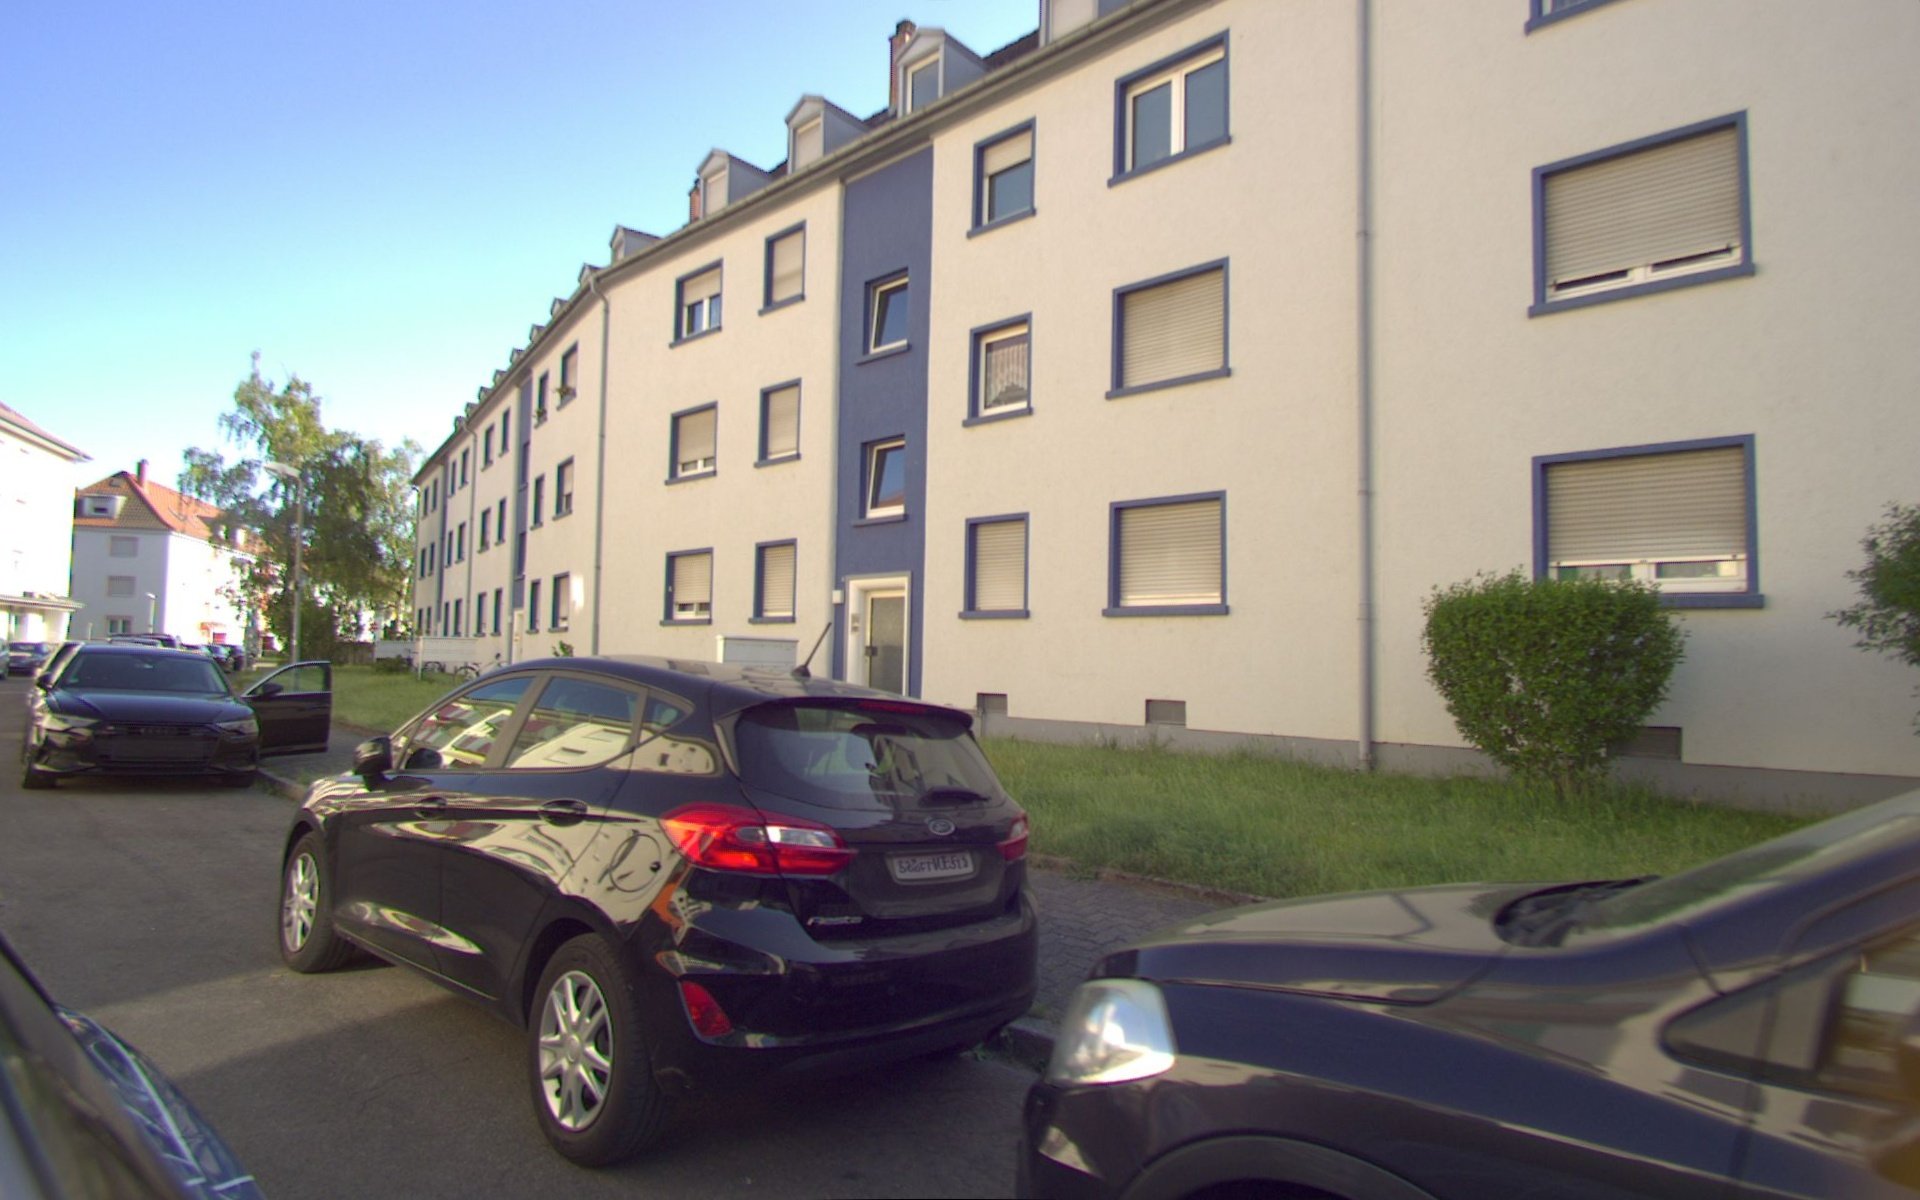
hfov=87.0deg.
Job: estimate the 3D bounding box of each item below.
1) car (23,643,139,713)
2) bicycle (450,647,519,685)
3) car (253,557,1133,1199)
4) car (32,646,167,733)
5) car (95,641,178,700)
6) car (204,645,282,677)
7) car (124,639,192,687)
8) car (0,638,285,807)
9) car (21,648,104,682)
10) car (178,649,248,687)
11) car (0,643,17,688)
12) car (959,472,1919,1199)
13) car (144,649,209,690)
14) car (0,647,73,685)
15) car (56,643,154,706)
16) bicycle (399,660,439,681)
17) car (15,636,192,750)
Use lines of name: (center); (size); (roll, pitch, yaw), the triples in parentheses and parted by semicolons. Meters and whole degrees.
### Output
car: (-20.262, 1.775, 23.470); (1.693, 1.422, 3.990); (8, -7, -38)
bicycle: (-13.444, 1.860, 28.638); (1.707, 0.997, 0.463); (0, -1, -35)
car: (-1.337, 0.795, 4.163); (3.701, 1.530, 1.626); (-2, -8, 42)
car: (-16.592, 1.683, 19.451); (1.694, 1.422, 3.987); (9, -7, -42)
car: (-26.907, 2.292, 33.162); (1.615, 1.715, 3.657); (7, -7, -34)
car: (-36.922, 3.182, 52.226); (1.551, 1.436, 3.985); (4, -6, -8)
car: (-30.384, 2.390, 38.428); (1.616, 1.653, 3.657); (7, -7, -34)
car: (-9.247, 1.254, 11.207); (4.396, 1.470, 1.879); (-2, -8, 43)
car: (-41.515, 3.017, 46.922); (1.728, 1.440, 4.104); (5, -5, -26)
car: (-35.113, 3.214, 47.666); (1.614, 1.587, 3.659); (6, -6, -21)
car: (-35.577, 2.315, 36.026); (1.728, 1.647, 4.419); (5, -5, -28)
car: (2.121, 0.758, 1.025); (4.162, 1.603, 1.656); (-1, -8, 41)
car: (-33.040, 2.929, 42.737); (1.615, 1.587, 3.658); (7, -6, -31)
car: (-38.600, 2.714, 41.928); (1.728, 1.440, 4.480); (5, -5, -28)
car: (-23.855, 2.066, 28.345); (1.616, 1.559, 3.657); (7, -7, -34)
bicycle: (-21.907, 2.841, 40.989); (1.435, 0.770, 0.310); (0, -1, -35)
car: (-13.402, 1.396, 15.758); (1.721, 1.528, 3.986); (9, -8, -43)
